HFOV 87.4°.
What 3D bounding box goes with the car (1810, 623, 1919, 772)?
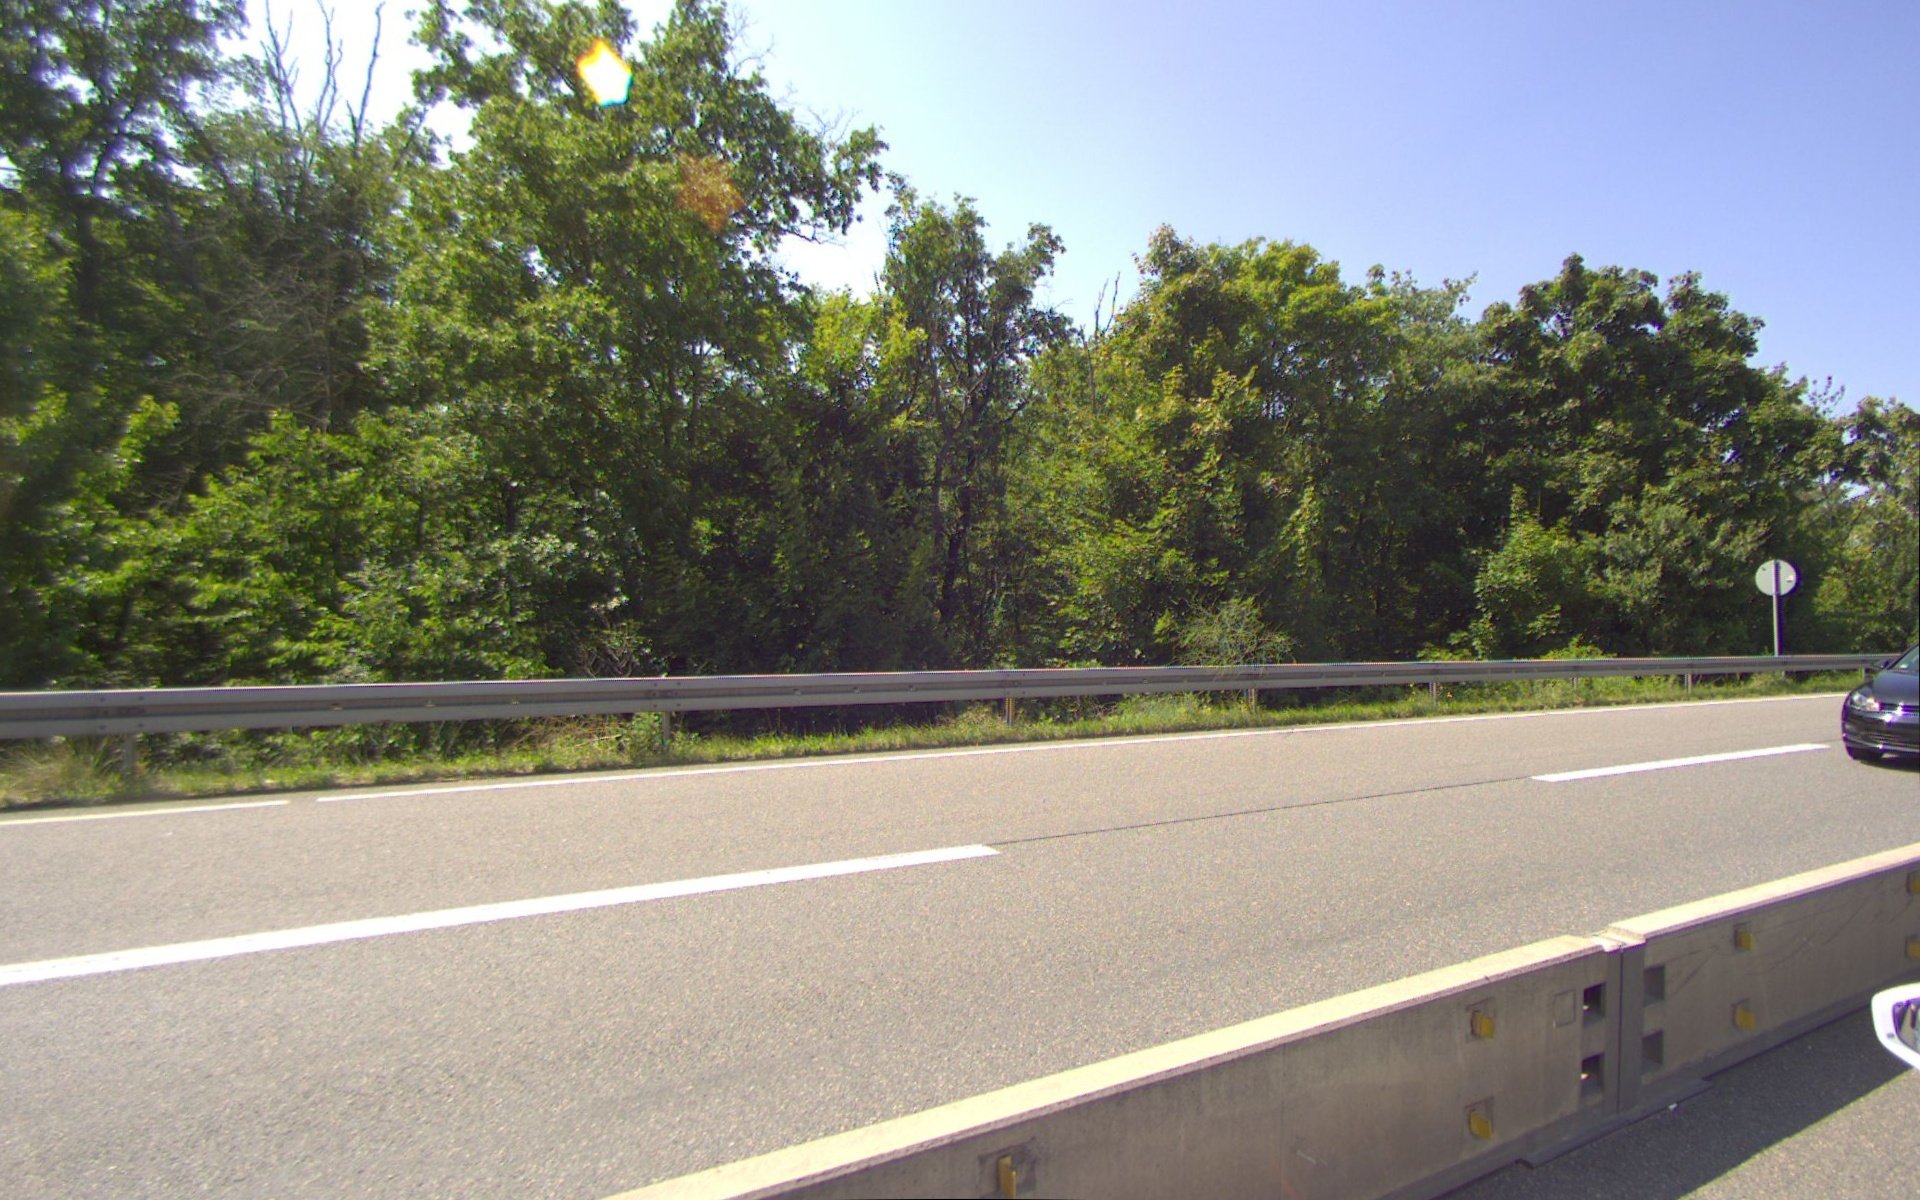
[{"bbox_3d":[11.248,1.013,10.878,4.059,1.443,1.807,1,0,-29],"label":"car"}]
